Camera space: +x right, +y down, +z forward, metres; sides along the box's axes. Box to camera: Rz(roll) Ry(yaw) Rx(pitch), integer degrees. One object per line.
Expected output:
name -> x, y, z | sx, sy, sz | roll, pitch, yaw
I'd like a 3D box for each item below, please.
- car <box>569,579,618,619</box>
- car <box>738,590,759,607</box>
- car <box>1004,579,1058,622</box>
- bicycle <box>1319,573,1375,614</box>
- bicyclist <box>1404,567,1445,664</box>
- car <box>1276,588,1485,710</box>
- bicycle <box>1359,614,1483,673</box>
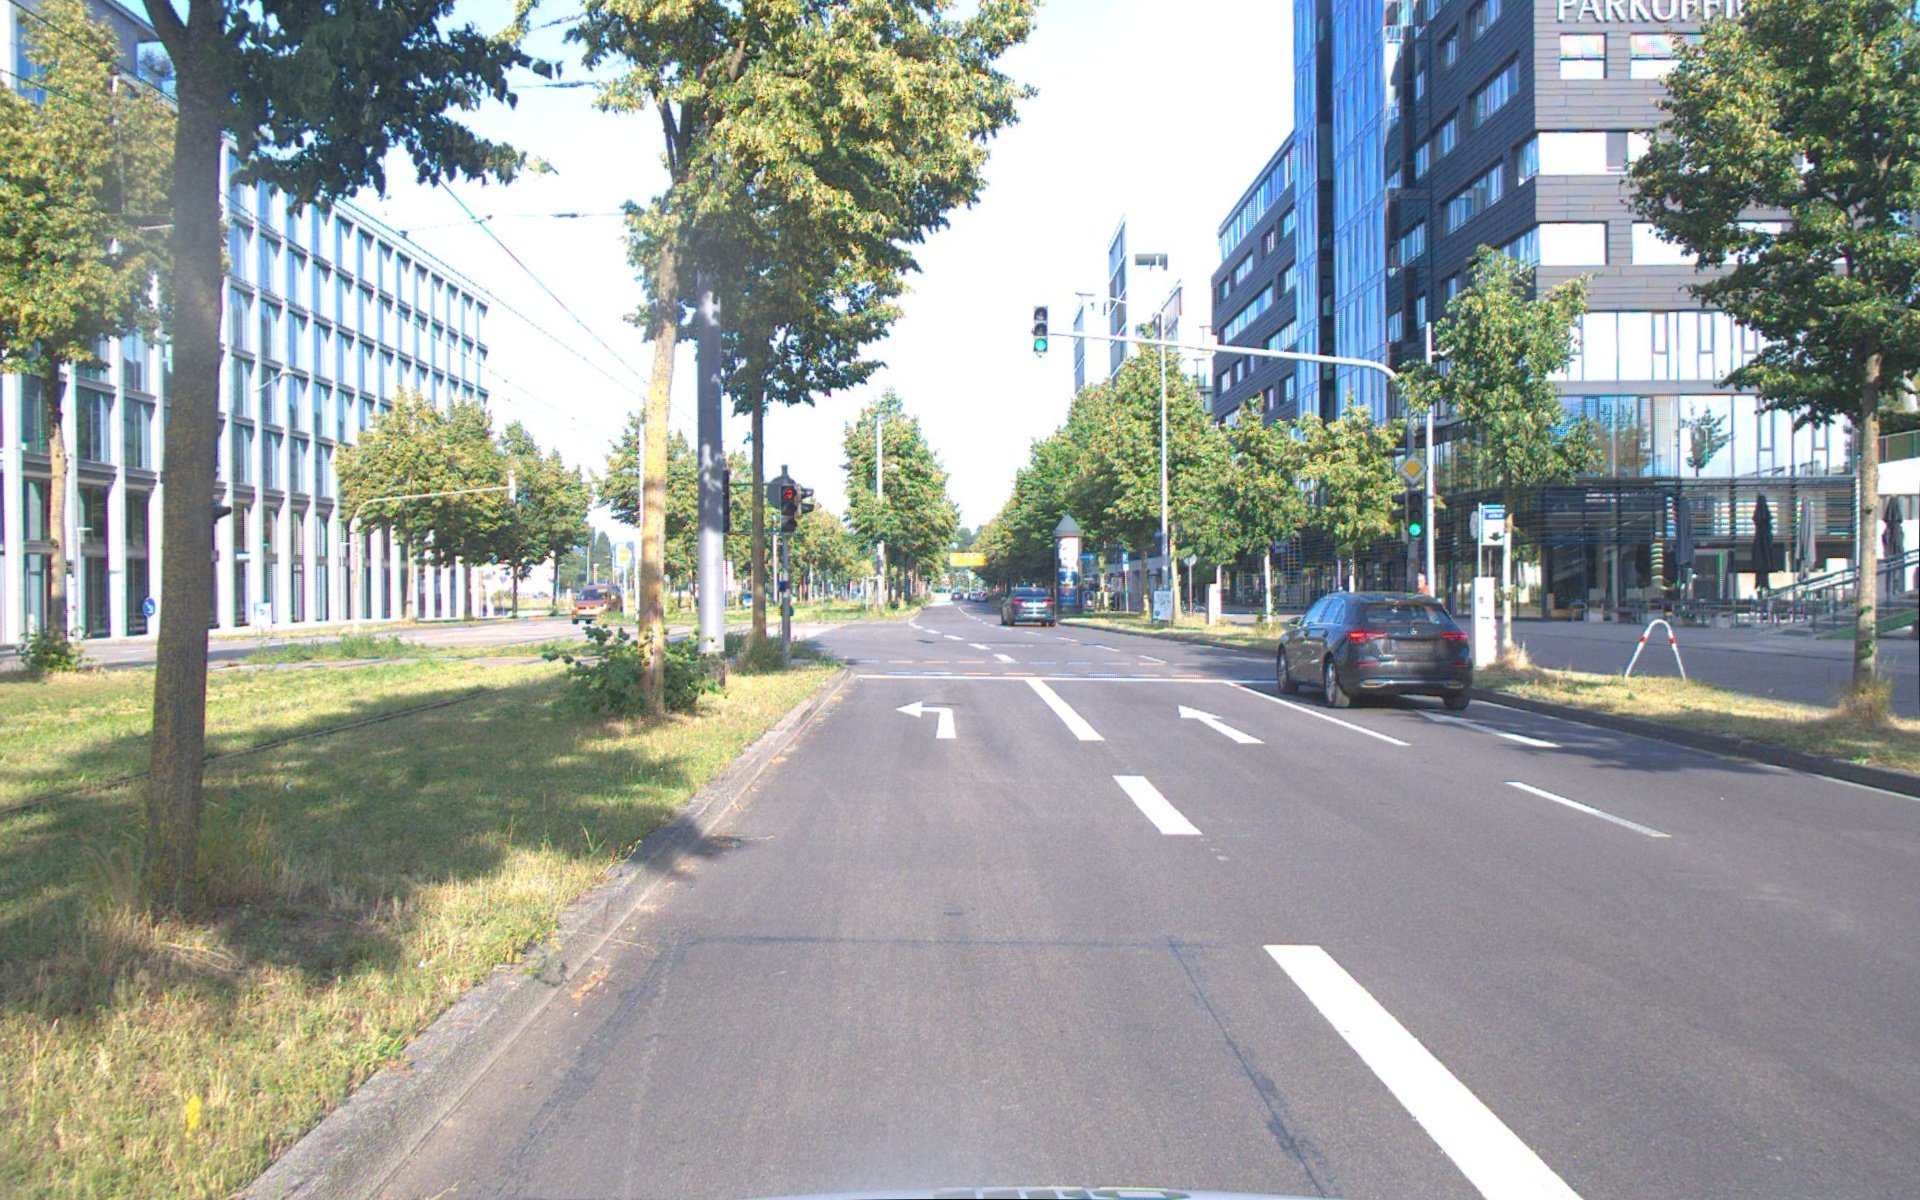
car -> -17.174, -0.042, 77.684 | 1.651, 1.806, 3.879 | 1, 0, -4
car -> -18.823, -0.161, 147.062 | 1.606, 1.468, 3.953 | 1, 0, -4
car -> 2.649, 0.018, 62.276 | 1.822, 1.551, 3.785 | 1, 0, -1
bicycle -> 18.225, -0.310, 77.955 | 2.510, 1.890, 0.570 | 1, 0, 9
bicyclist -> 8.468, 0.286, 30.159 | 0.563, 1.736, 0.540 | 1, 0, -3
car -> 5.463, 0.598, 21.995 | 1.738, 1.449, 3.960 | 1, 0, 0
bicycle -> 8.407, 0.796, 30.182 | 2.092, 1.030, 0.571 | 1, 0, -5
